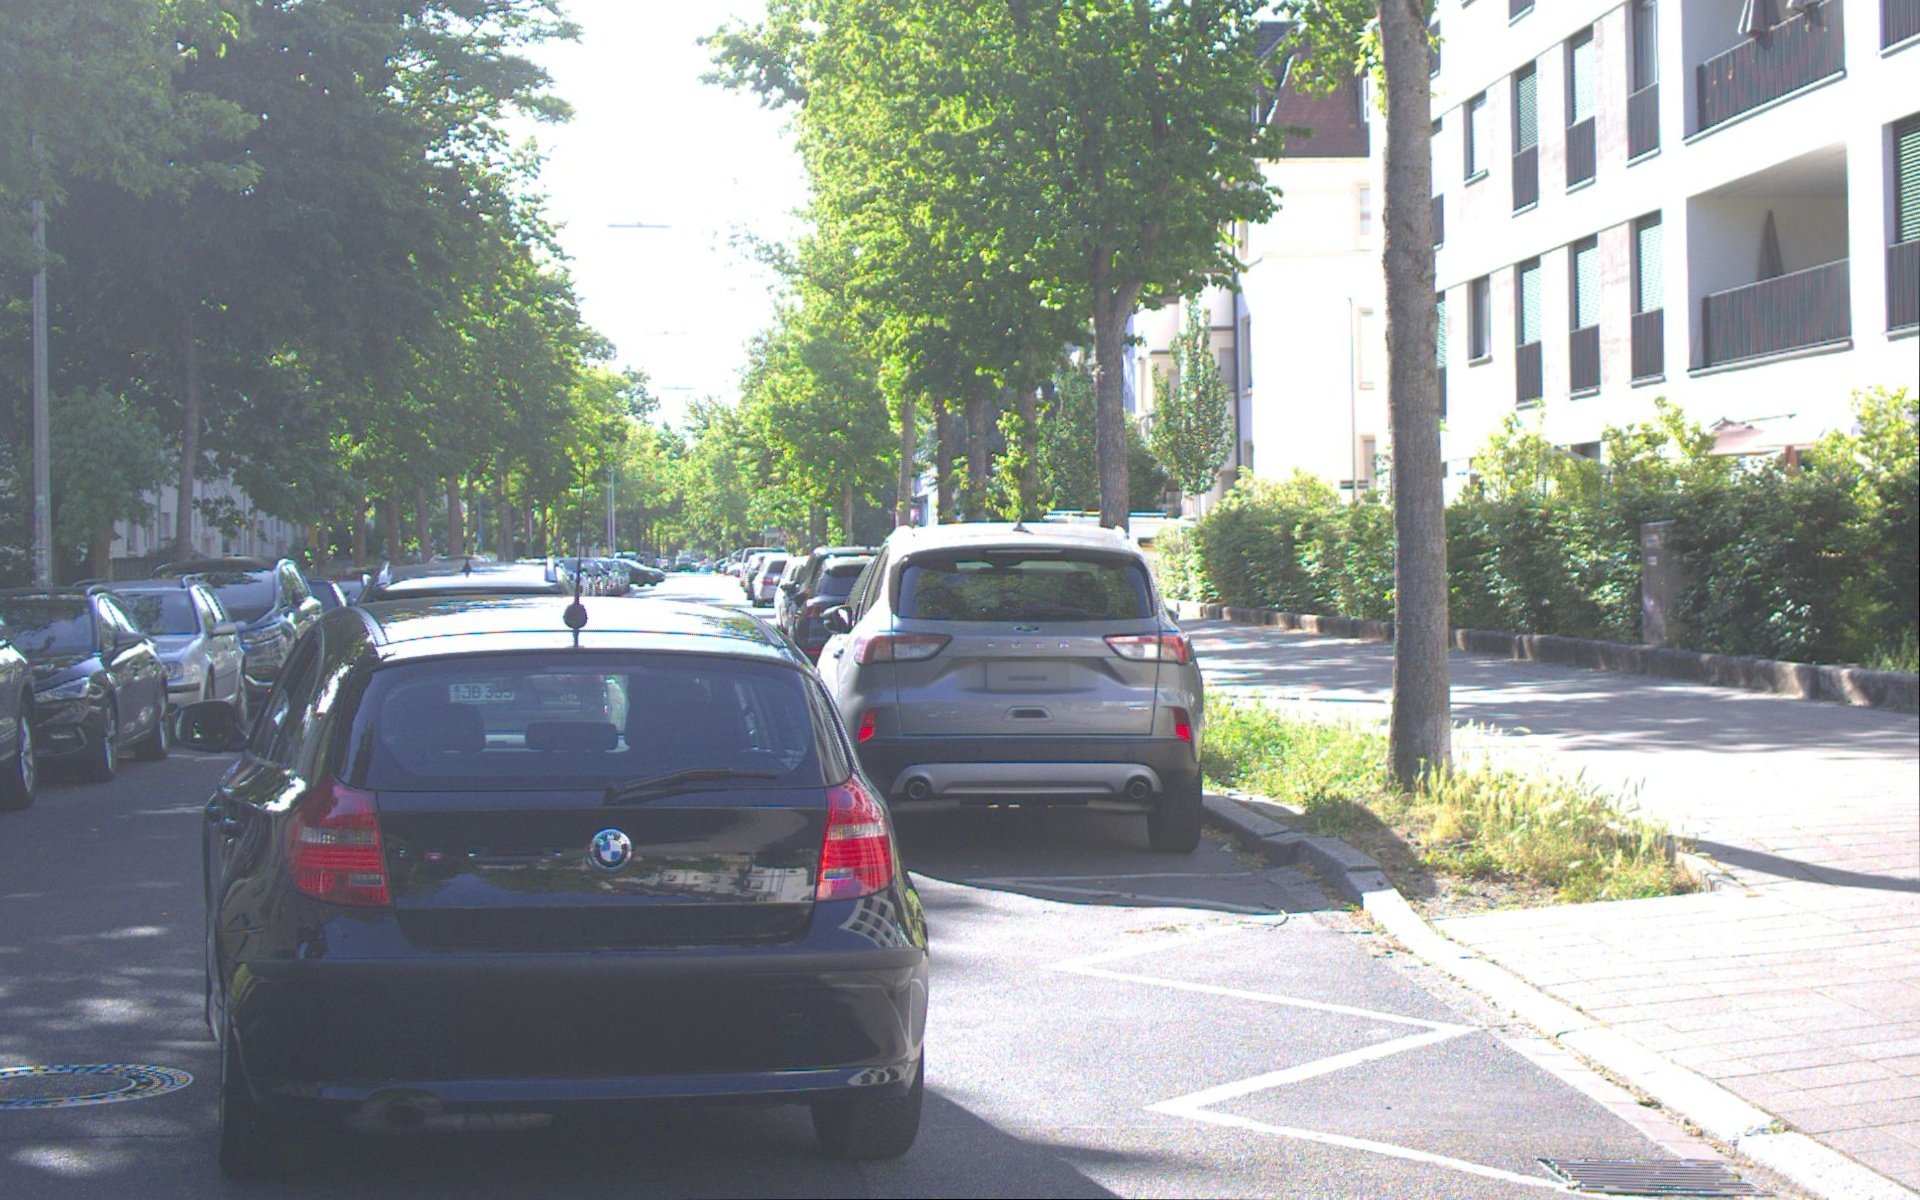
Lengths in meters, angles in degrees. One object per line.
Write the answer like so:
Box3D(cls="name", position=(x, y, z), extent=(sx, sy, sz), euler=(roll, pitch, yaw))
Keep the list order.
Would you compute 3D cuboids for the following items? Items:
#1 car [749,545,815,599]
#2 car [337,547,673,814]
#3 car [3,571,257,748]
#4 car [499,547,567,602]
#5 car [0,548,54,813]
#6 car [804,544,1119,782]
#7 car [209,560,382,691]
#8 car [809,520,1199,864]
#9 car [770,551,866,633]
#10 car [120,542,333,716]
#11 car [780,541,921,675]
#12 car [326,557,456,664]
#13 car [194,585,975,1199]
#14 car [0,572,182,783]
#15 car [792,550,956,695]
Box3D(cls="car", position=(-5.155, -0.823, 99.725), extent=(1.721, 1.475, 3.851), euler=(-2, 1, -1))
Box3D(cls="car", position=(-2.696, 0.416, 21.132), extent=(1.649, 1.420, 4.002), euler=(-2, 1, -2))
Box3D(cls="car", position=(-7.429, 0.487, 31.065), extent=(1.612, 1.422, 3.726), euler=(-2, 1, -5))
Box3D(cls="car", position=(-11.490, -0.696, 92.692), extent=(1.612, 1.387, 3.866), euler=(-2, 1, -5))
Box3D(cls="car", position=(-6.636, 0.522, 20.689), extent=(1.612, 1.606, 4.230), euler=(-2, 1, -6))
Box3D(cls="car", position=(-0.077, 0.381, 24.245), extent=(1.693, 1.518, 4.001), euler=(-1, 1, -8))
Box3D(cls="car", position=(-8.099, 0.275, 42.189), extent=(1.612, 1.447, 3.866), euler=(-2, 1, -5))
Box3D(cls="car", position=(0.122, 0.422, 18.552), extent=(1.848, 1.625, 4.411), euler=(0, 0, -2))
Box3D(cls="car", position=(-2.676, -0.173, 64.515), extent=(1.720, 1.475, 3.851), euler=(1, 1, -3))
Box3D(cls="car", position=(-7.721, 0.261, 36.497), extent=(1.612, 1.673, 4.235), euler=(-2, 1, -5))
Box3D(cls="car", position=(-1.450, 0.067, 44.645), extent=(1.720, 1.635, 3.851), euler=(1, 1, -3))
Box3D(cls="car", position=(-8.850, 0.127, 53.689), extent=(1.612, 1.538, 3.866), euler=(-2, 1, -5))
Box3D(cls="car", position=(-1.180, 0.695, 9.286), extent=(1.649, 1.392, 3.412), euler=(-2, 1, -13))
Box3D(cls="car", position=(-7.024, 0.541, 25.986), extent=(1.612, 1.422, 4.059), euler=(-2, 1, -5))
Box3D(cls="car", position=(-1.014, 0.210, 38.652), extent=(1.720, 1.523, 4.001), euler=(1, 1, -3))
